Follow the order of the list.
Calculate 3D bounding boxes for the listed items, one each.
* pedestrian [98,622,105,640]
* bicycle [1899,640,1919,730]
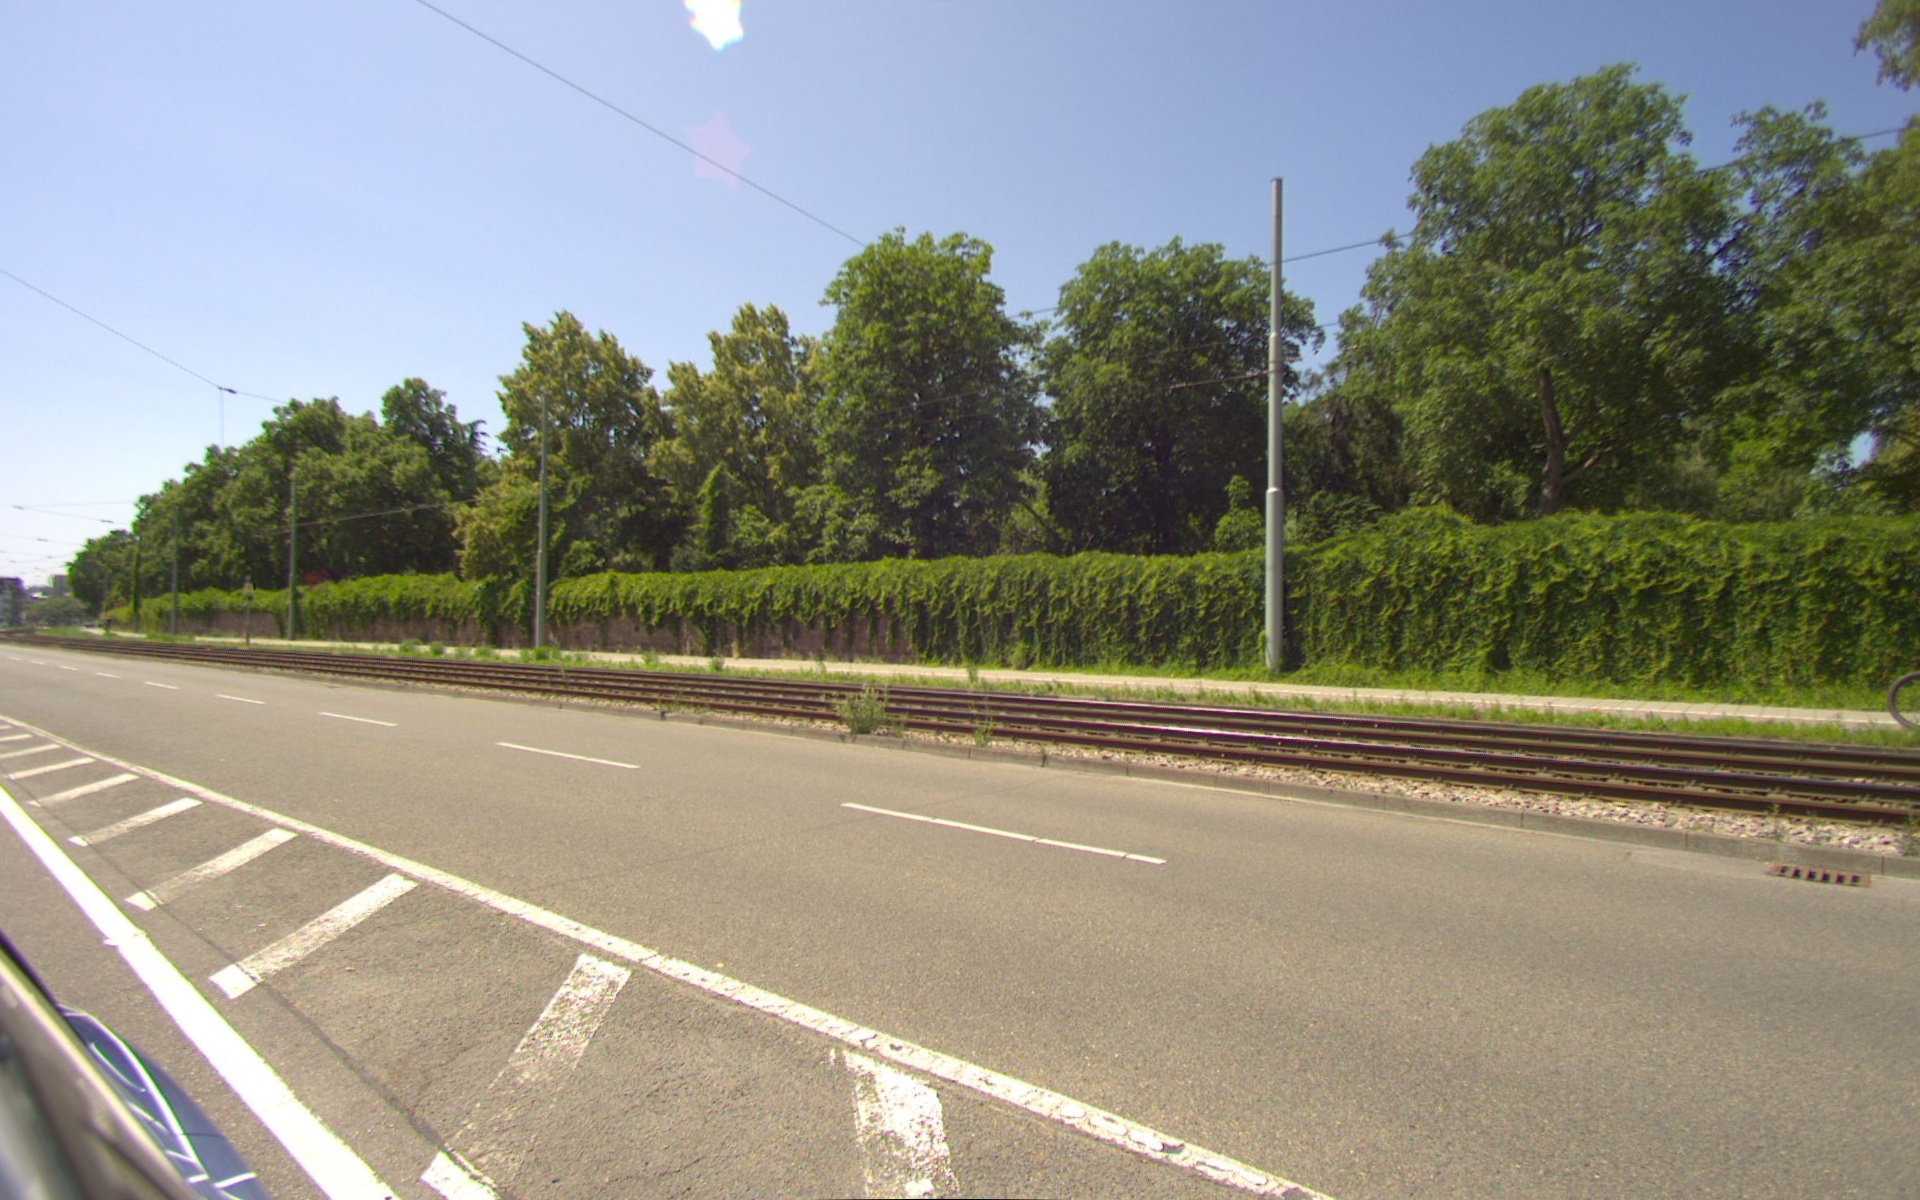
[{"bbox_3d":[-80.510,2.916,94.937,0.302,1.677,0.447,-2,-1,41],"label":"pedestrian"},{"bbox_3d":[12.432,1.028,11.921,1.977,1.063,0.610,-1,0,41],"label":"bicycle"}]
